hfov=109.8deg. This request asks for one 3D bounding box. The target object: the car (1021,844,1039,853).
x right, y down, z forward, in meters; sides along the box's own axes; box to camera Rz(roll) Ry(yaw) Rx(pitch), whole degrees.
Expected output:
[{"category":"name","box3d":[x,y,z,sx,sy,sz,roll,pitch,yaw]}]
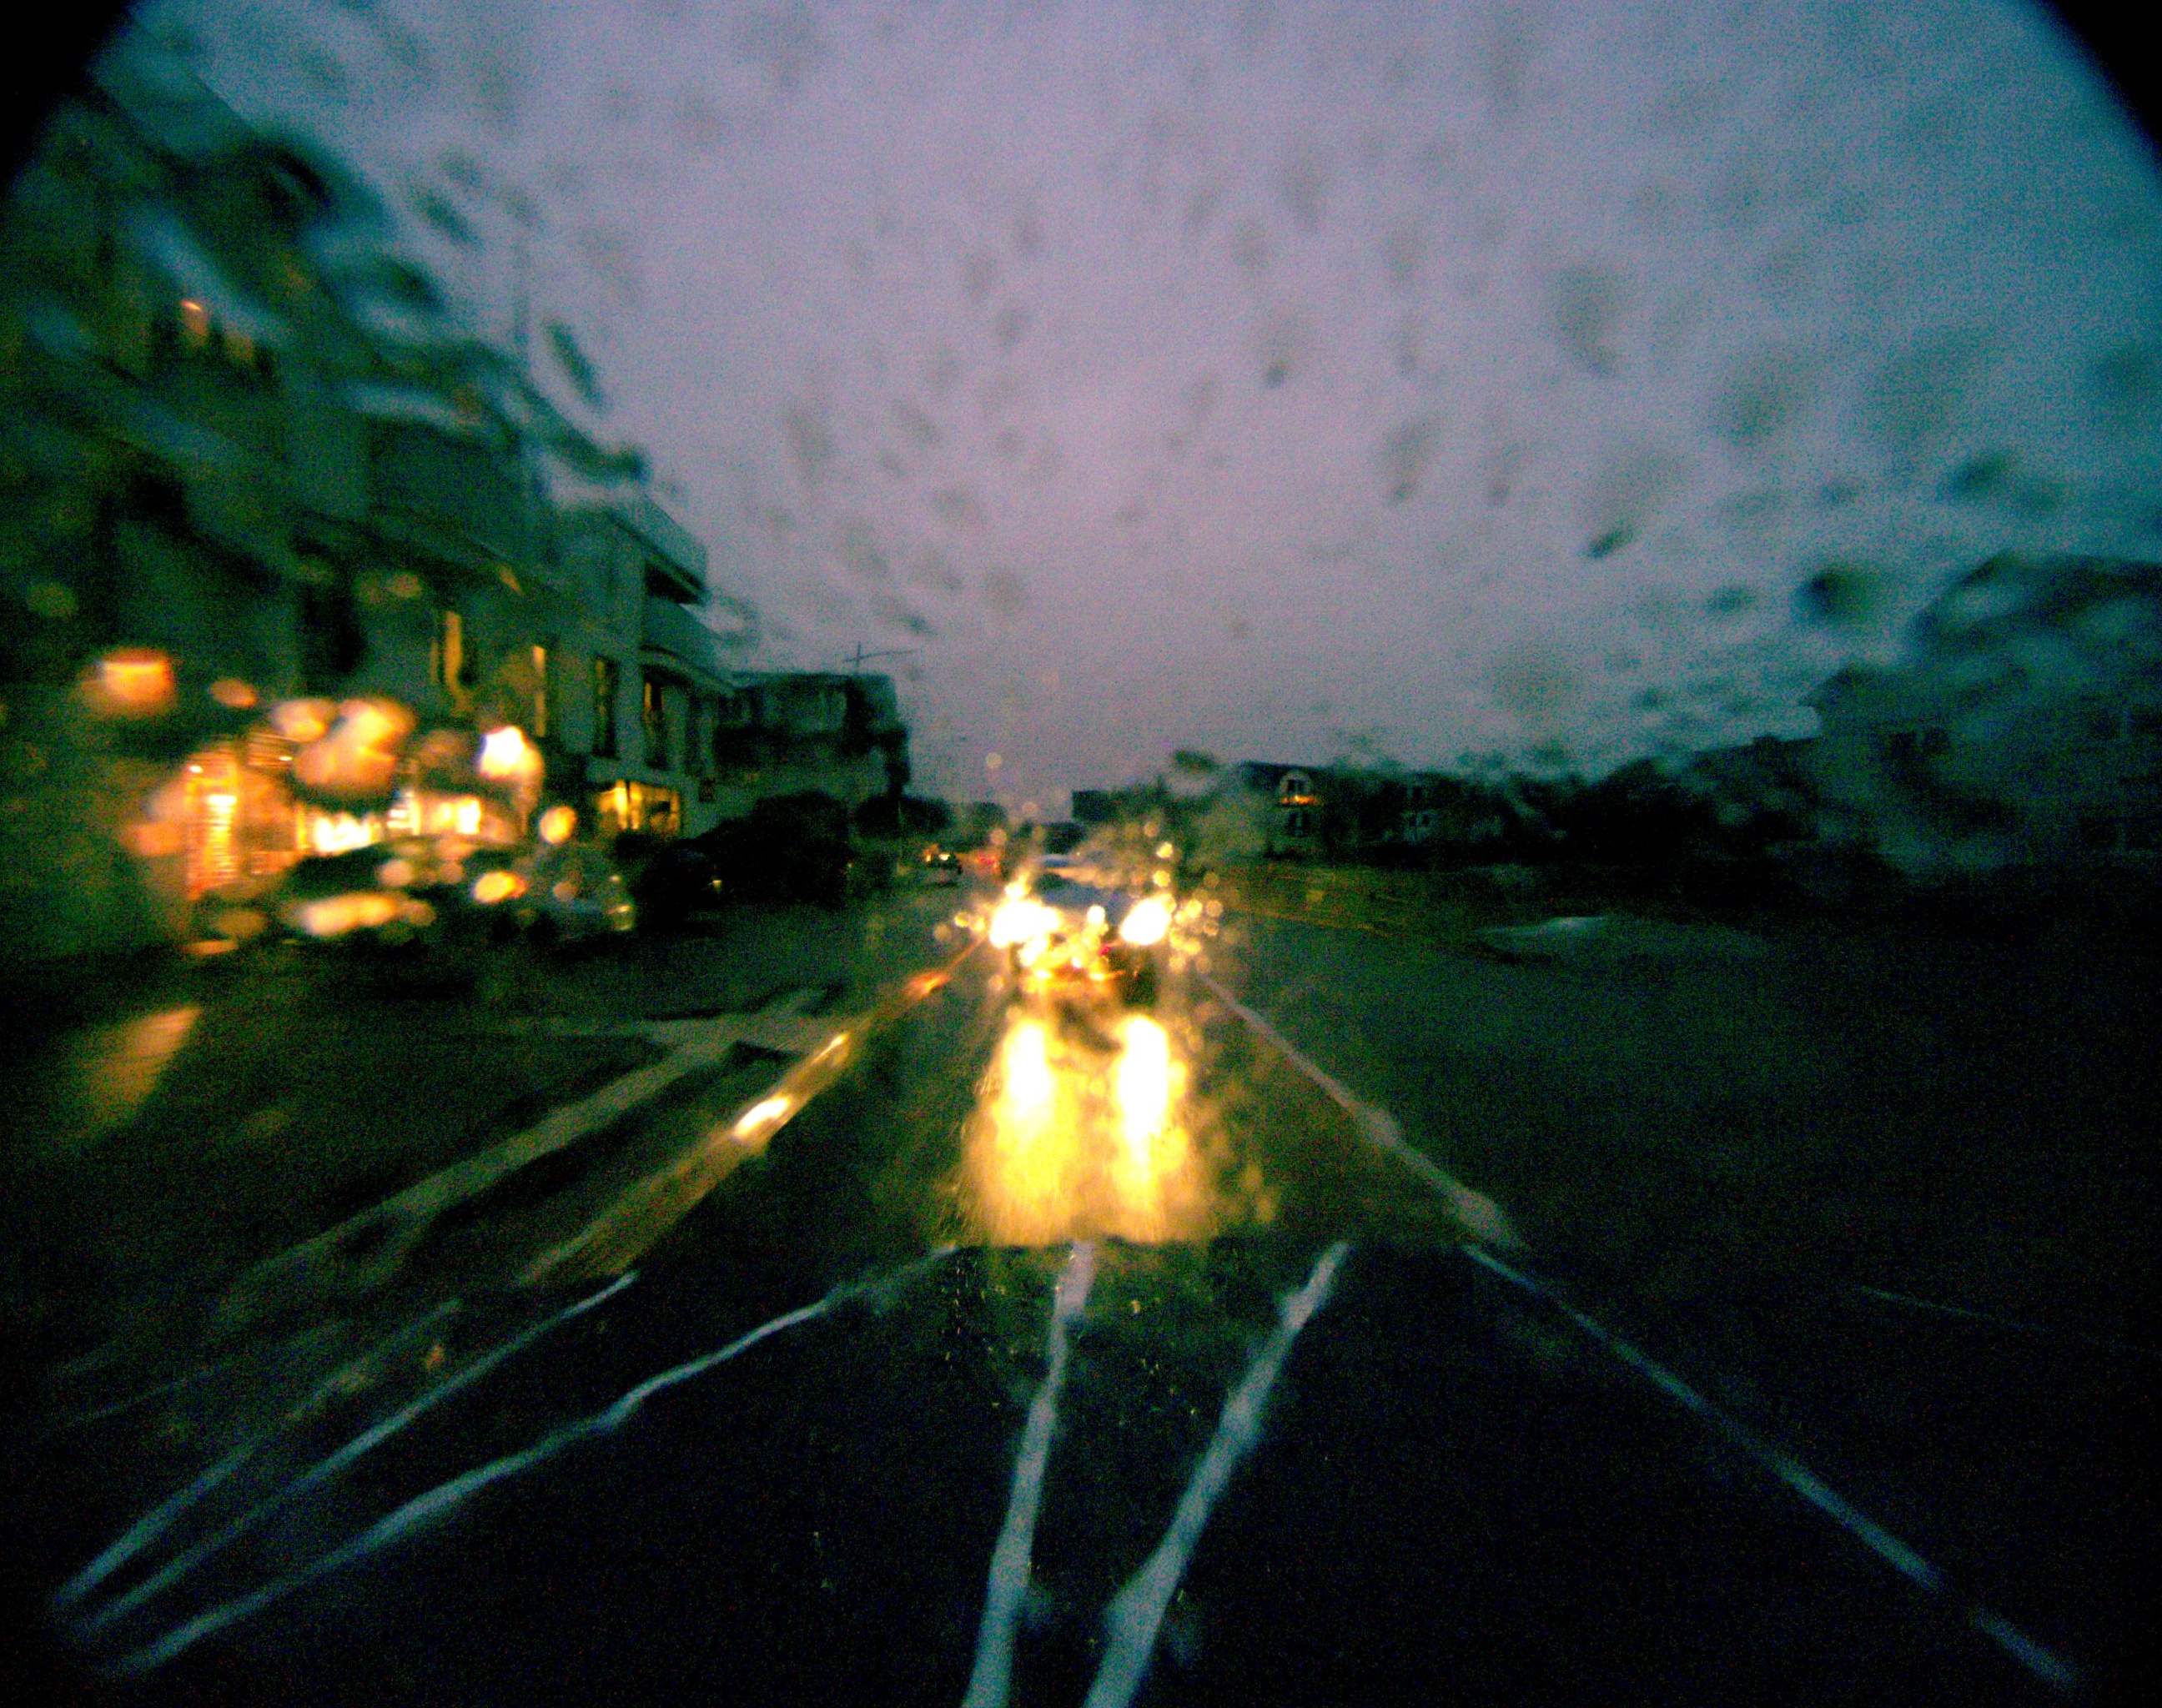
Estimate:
[{"category":"car","box3d":[-8.602,-0.940,127.909,1.802,1.460,4.249,0,1,-20]}]

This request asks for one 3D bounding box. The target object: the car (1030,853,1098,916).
[{"category":"car","box3d":[-0.571,0.796,21.528,1.682,1.614,3.998,0,0,-5]}]

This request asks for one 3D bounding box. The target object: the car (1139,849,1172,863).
[{"category":"car","box3d":[8.017,0.183,82.549,1.802,1.460,4.608,0,1,-19]}]

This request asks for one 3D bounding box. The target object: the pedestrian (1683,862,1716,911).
[{"category":"pedestrian","box3d":[16.780,0.859,20.615,0.512,1.294,0.601,-1,1,-39]}]

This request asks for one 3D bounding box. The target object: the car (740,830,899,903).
[{"category":"car","box3d":[-7.778,0.373,22.983,4.153,1.625,1.753,8,-1,-11]}]

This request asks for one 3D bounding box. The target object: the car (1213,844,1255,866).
[{"category":"car","box3d":[13.111,0.064,65.434,1.801,1.816,4.251,0,1,-15]}]

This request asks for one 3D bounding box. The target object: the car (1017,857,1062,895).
[{"category":"car","box3d":[-1.808,0.888,32.216,1.573,1.460,3.613,-2,0,-8]}]

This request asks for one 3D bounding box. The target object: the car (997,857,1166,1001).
[{"category":"car","box3d":[-0.108,0.853,10.617,1.889,1.569,3.999,-1,0,-4]}]

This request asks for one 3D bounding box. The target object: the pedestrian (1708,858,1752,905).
[{"category":"pedestrian","box3d":[17.687,0.733,20.722,0.693,1.242,0.602,0,1,-6]}]

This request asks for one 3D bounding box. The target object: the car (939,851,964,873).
[{"category":"car","box3d":[-9.752,0.607,57.363,1.849,1.577,3.766,0,0,-9]}]

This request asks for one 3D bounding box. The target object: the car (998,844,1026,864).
[{"category":"car","box3d":[-7.308,-0.018,80.201,2.002,2.002,3.992,-1,1,-20]}]

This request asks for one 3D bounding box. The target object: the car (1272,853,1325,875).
[{"category":"car","box3d":[15.826,0.690,55.569,1.801,1.460,4.251,0,1,-15]}]

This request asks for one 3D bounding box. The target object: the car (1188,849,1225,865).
[{"category":"car","box3d":[11.686,0.270,70.993,1.678,1.460,4.010,2,0,-19]}]

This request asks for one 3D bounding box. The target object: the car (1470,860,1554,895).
[{"category":"car","box3d":[20.049,1.041,35.480,1.479,1.500,3.499,0,1,-11]}]

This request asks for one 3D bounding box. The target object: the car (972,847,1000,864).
[{"category":"car","box3d":[-9.252,0.143,73.758,1.786,1.612,3.950,0,0,-20]}]

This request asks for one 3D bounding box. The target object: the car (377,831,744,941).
[{"category":"car","box3d":[-8.252,0.479,12.467,4.522,1.484,1.973,3,1,-7]}]

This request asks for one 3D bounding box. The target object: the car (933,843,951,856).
[{"category":"car","box3d":[-21.758,-0.697,118.936,2.002,2.002,3.992,-1,1,-20]}]

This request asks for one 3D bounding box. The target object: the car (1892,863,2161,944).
[{"category":"car","box3d":[22.553,1.069,18.130,1.780,1.560,4.090,-1,1,-8]}]

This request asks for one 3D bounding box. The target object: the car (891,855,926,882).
[{"category":"car","box3d":[-10.115,0.812,44.676,1.778,1.488,3.774,2,0,-10]}]

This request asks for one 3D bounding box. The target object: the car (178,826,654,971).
[{"category":"car","box3d":[-7.788,0.528,9.361,4.001,1.494,1.811,2,0,-12]}]

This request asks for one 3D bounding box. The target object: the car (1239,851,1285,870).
[{"category":"car","box3d":[14.440,0.517,60.778,1.801,1.460,4.251,0,1,-15]}]

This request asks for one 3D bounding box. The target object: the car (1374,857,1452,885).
[{"category":"car","box3d":[18.794,0.946,43.248,1.801,1.460,4.251,0,1,-15]}]

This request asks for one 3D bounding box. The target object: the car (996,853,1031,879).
[{"category":"car","box3d":[-4.042,0.668,45.078,1.742,1.434,3.996,-1,1,-9]}]

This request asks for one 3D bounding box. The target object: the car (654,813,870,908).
[{"category":"car","box3d":[-7.932,0.179,19.326,4.554,1.922,1.974,5,0,-6]}]

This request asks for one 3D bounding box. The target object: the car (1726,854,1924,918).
[{"category":"car","box3d":[22.002,0.869,22.708,1.704,1.651,3.955,-1,1,-11]}]

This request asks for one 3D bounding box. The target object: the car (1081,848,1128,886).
[{"category":"car","box3d":[1.159,0.594,38.767,1.724,1.802,4.133,-1,1,-8]}]
